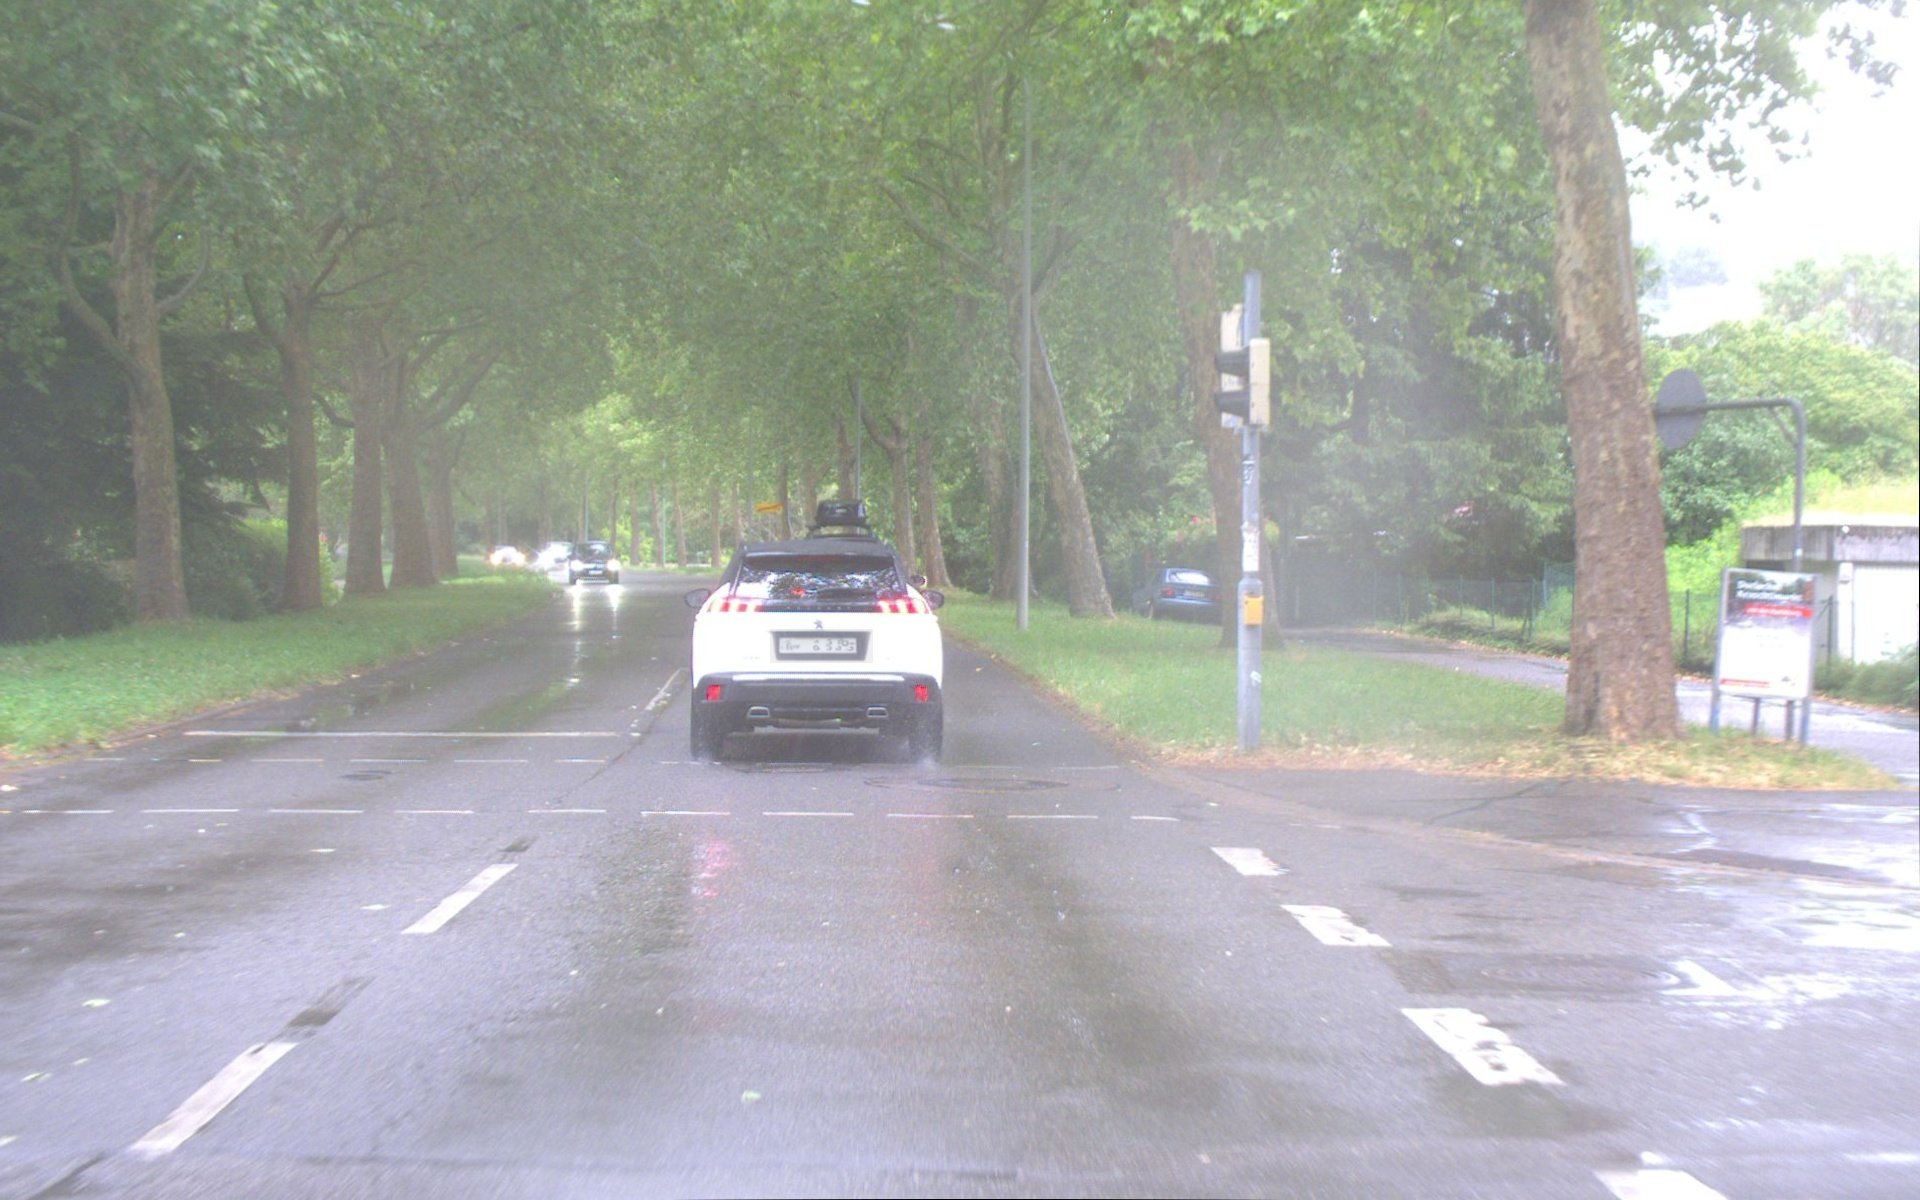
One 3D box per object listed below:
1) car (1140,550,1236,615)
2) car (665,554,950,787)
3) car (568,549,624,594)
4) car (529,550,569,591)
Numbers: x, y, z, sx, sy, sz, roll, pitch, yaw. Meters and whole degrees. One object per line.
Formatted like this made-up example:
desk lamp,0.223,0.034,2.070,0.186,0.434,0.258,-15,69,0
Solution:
car,5.487,-0.431,83.244,1.905,1.505,3.932,1,1,-2
car,-1.197,0.451,25.163,1.780,1.531,4.058,1,1,-7
car,-13.859,-1.099,131.051,1.873,1.671,3.708,1,1,-2
car,-20.458,-1.474,171.114,1.741,2.007,3.665,1,1,-3
